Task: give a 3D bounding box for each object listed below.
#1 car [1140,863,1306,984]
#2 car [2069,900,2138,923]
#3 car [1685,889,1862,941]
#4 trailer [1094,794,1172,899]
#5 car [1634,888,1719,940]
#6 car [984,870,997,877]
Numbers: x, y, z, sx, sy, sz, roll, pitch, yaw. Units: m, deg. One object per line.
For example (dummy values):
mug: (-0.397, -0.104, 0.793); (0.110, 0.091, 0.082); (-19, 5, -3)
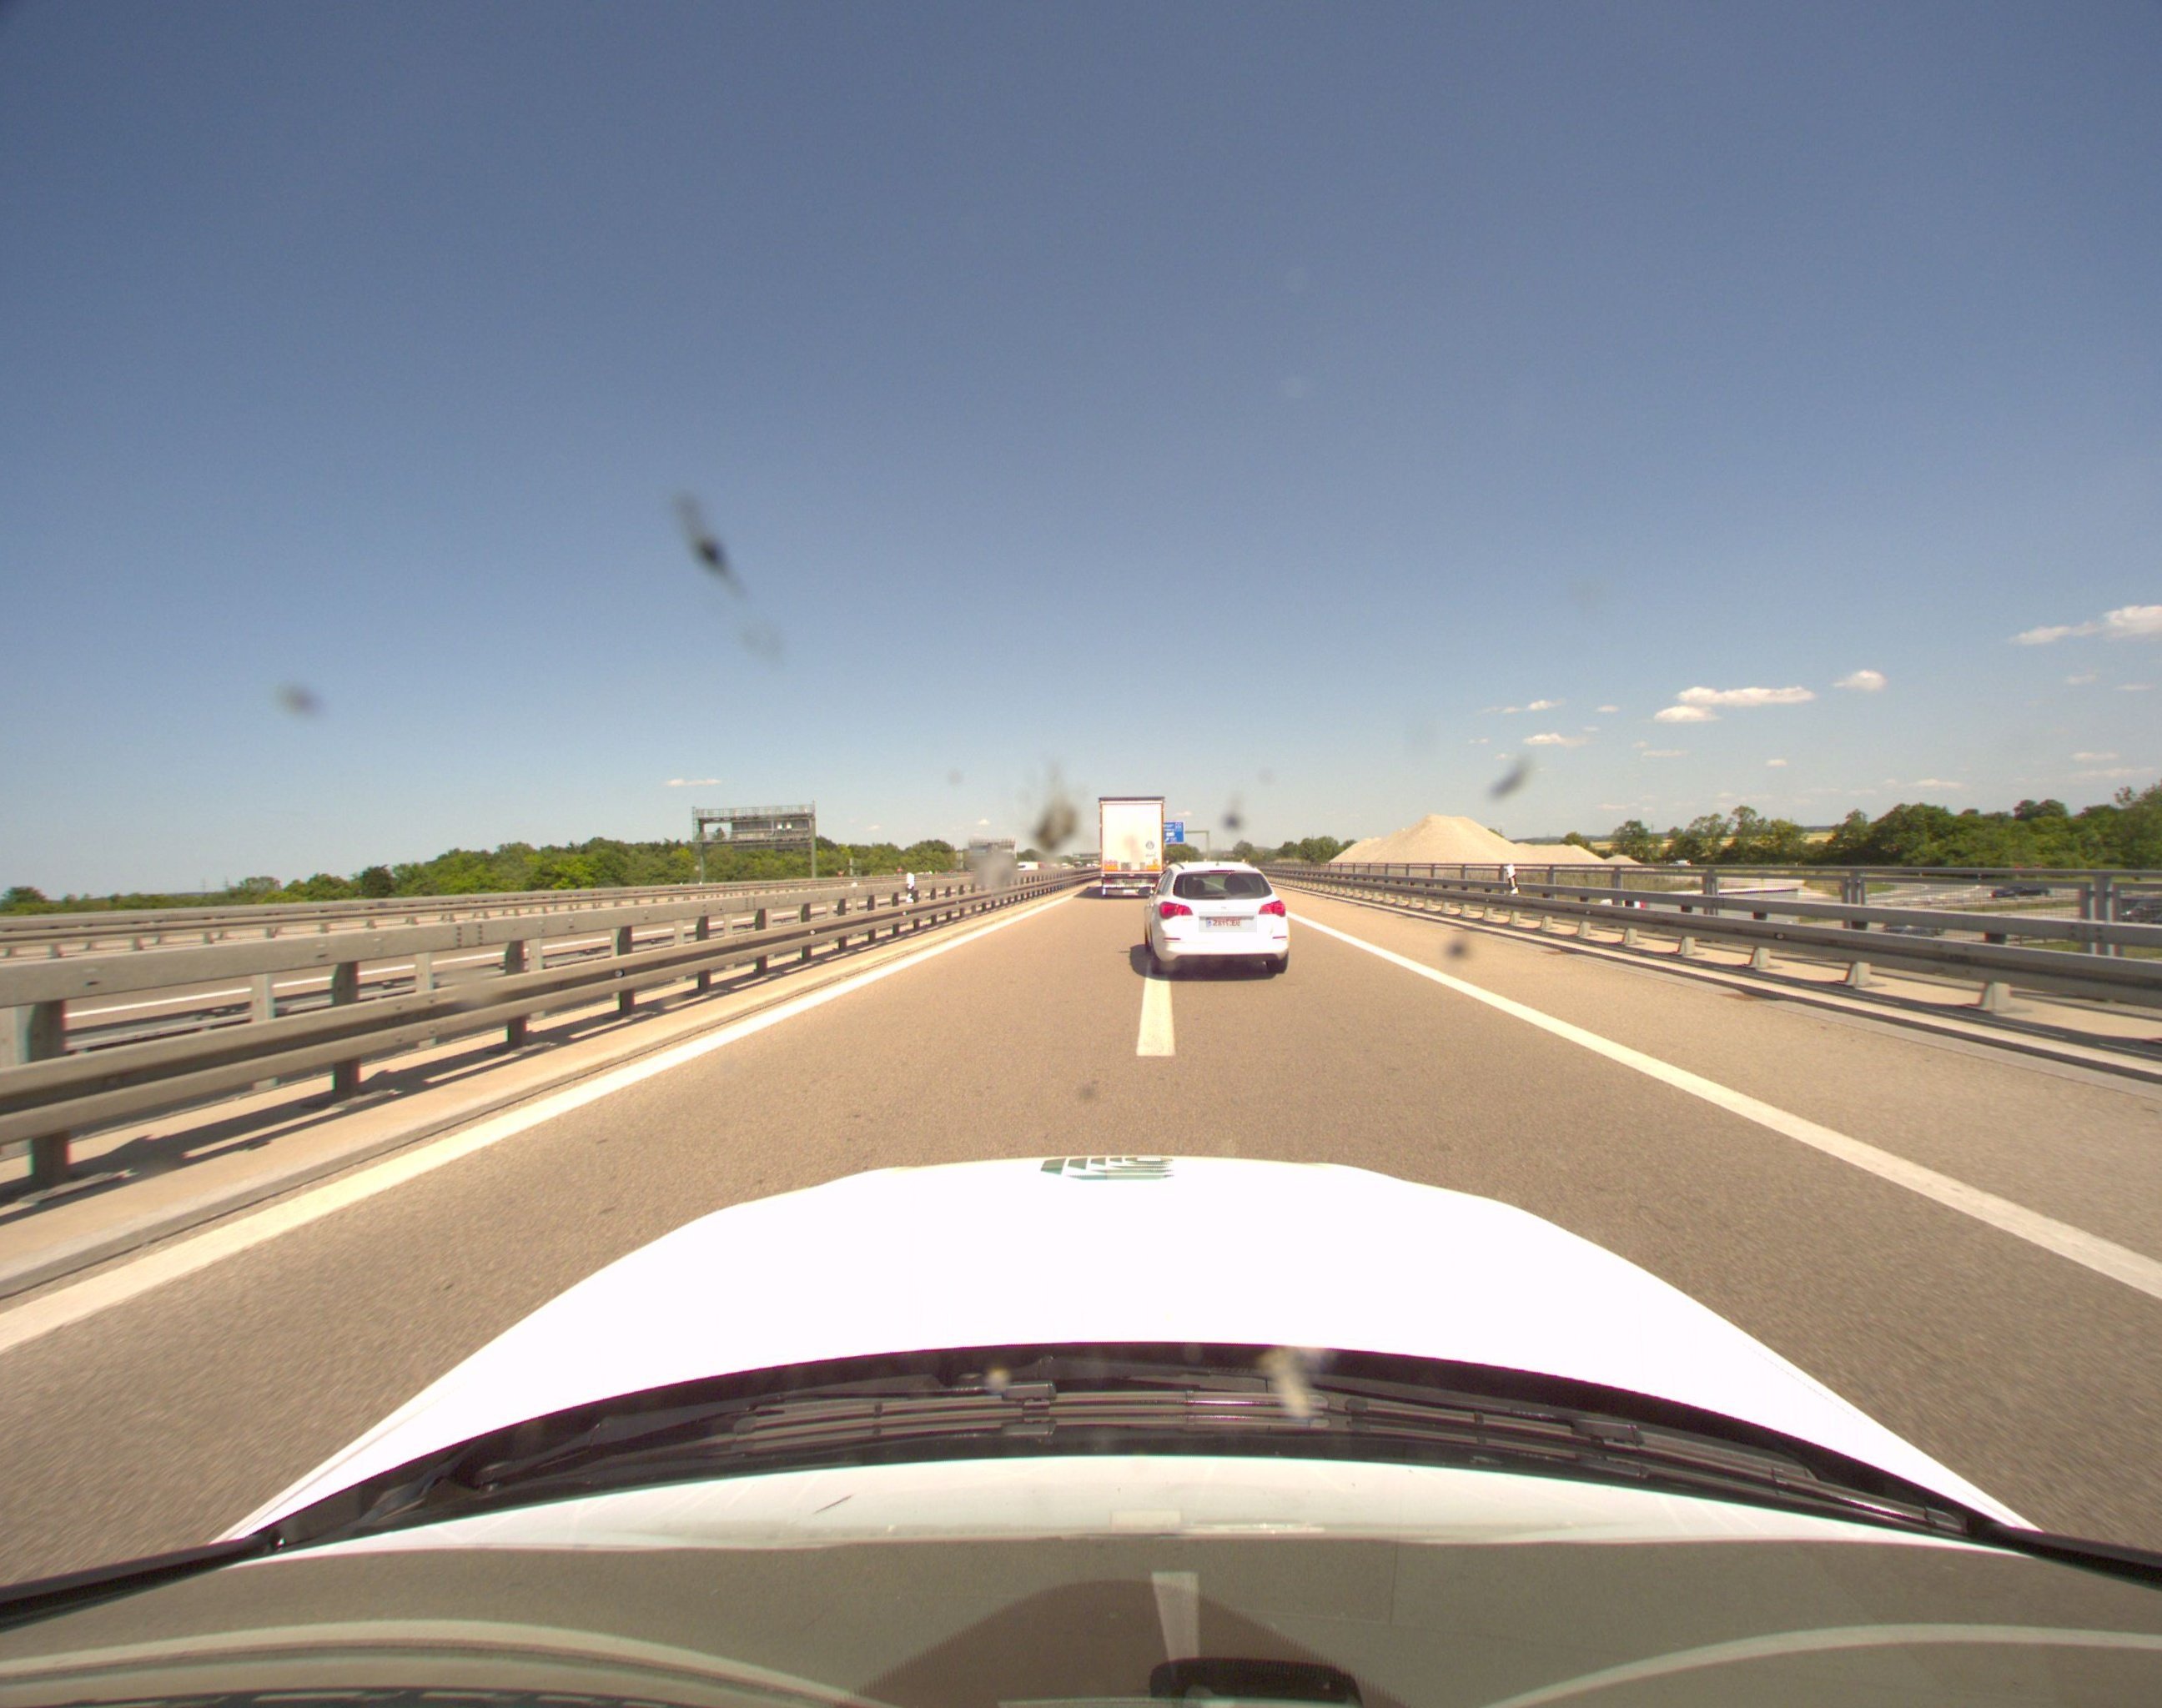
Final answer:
car: (1.866, 0.859, 11.989); (1.847, 1.443, 4.374); (-1, -1, 3)
car: (89.872, 5.033, 71.596); (4.329, 1.734, 1.856); (-1, -1, -8)
car: (55.888, 4.895, 65.828); (12.947, 3.964, 2.479); (0, -1, -5)
trailer: (2.668, -0.178, 37.885); (2.897, 4.146, 11.278); (-1, -1, 7)
car: (47.521, 4.763, 65.086); (5.134, 3.964, 2.479); (0, -1, -5)
car: (-20.025, 4.277, 181.111); (1.829, 1.517, 5.305); (-2, -1, 5)
